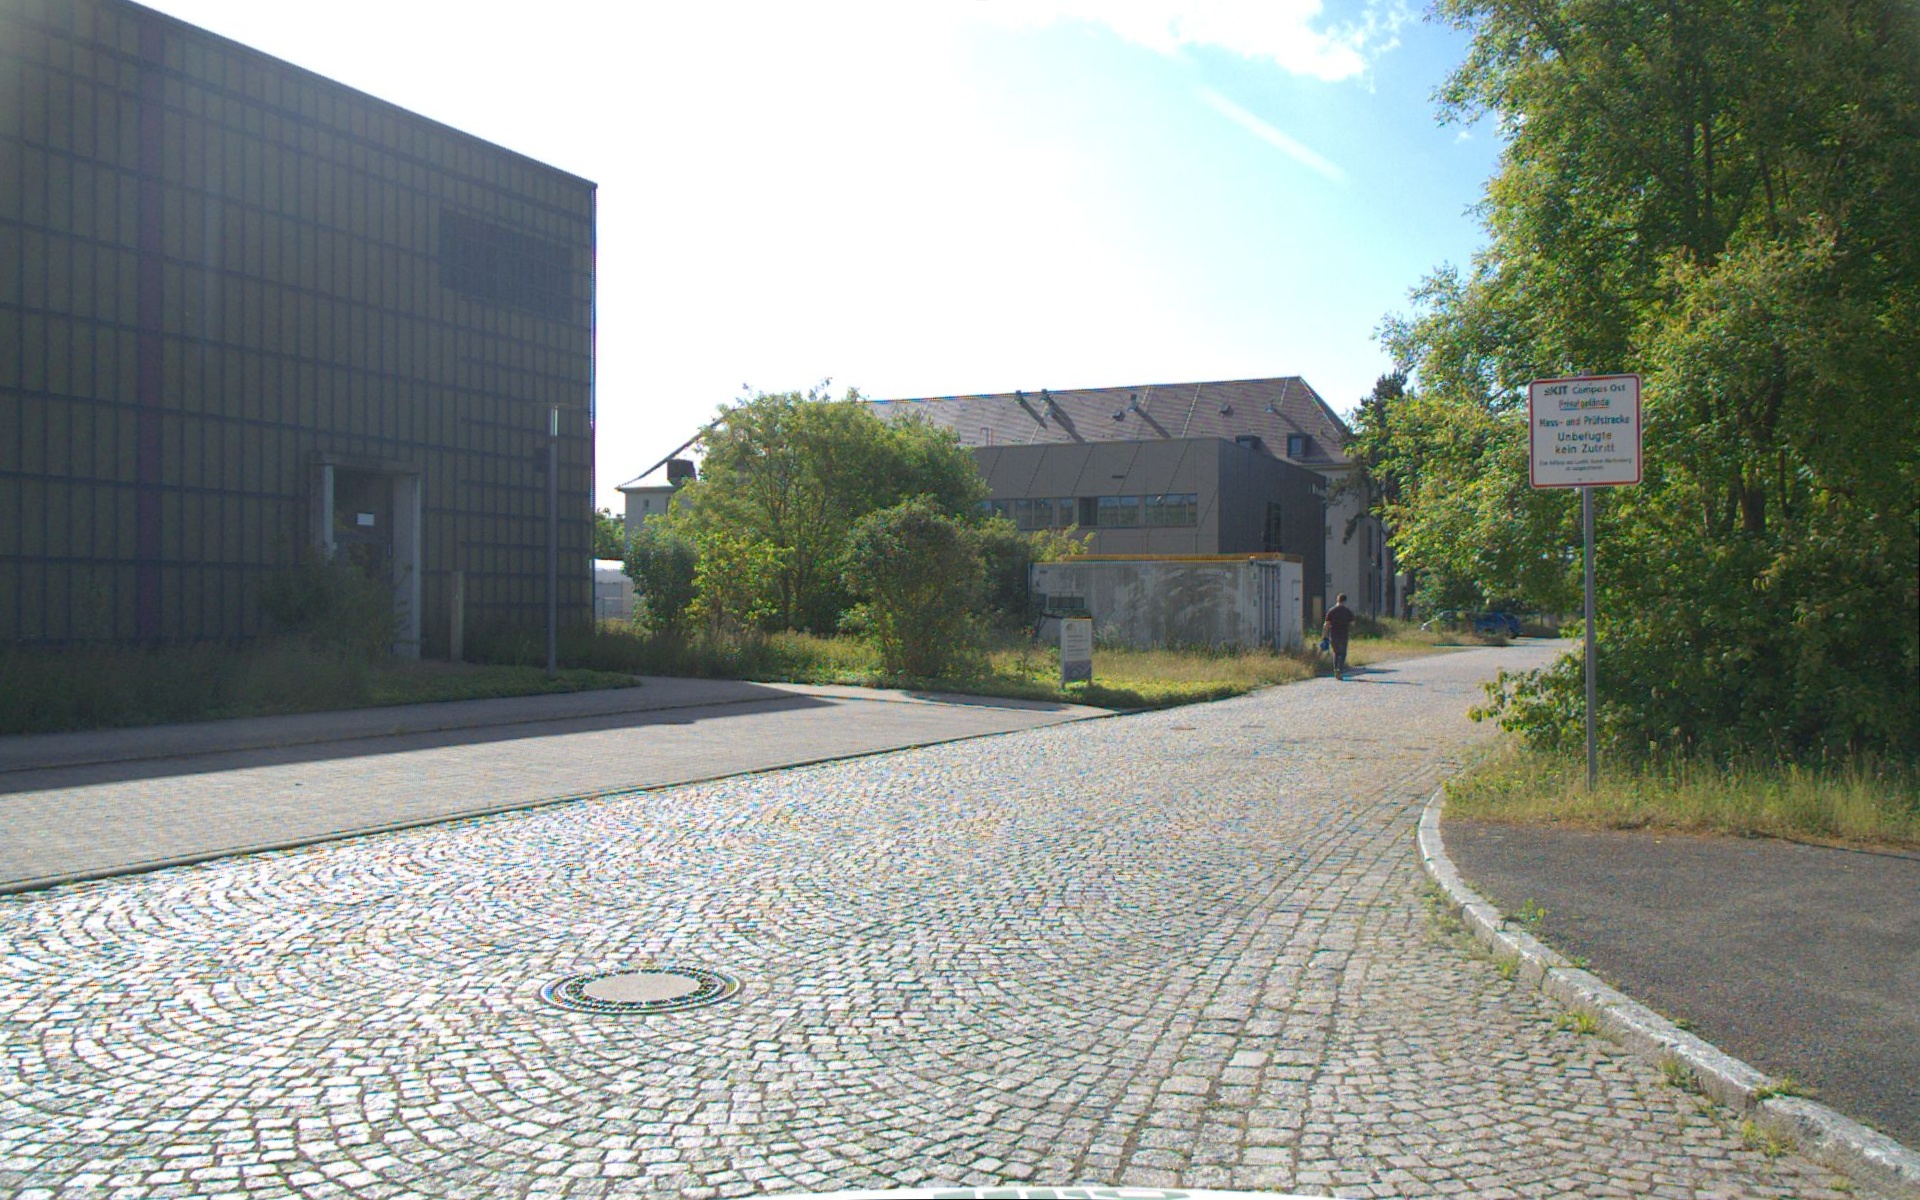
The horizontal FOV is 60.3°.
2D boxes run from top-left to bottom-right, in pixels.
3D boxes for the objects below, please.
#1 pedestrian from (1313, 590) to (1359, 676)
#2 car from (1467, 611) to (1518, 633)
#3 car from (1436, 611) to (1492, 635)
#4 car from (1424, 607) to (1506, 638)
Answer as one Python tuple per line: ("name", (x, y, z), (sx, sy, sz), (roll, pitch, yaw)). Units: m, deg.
("pedestrian", (8.112, 0.705, 35.670), (0.779, 1.812, 1.068), (1, 0, 23))
("car", (31.005, 1.276, 96.316), (2.793, 1.227, 1.375), (0, -1, 16))
("car", (26.791, 1.214, 87.964), (2.840, 1.281, 1.289), (0, -1, 16))
("car", (24.803, 1.104, 81.220), (3.755, 1.466, 1.583), (0, -1, 22))
